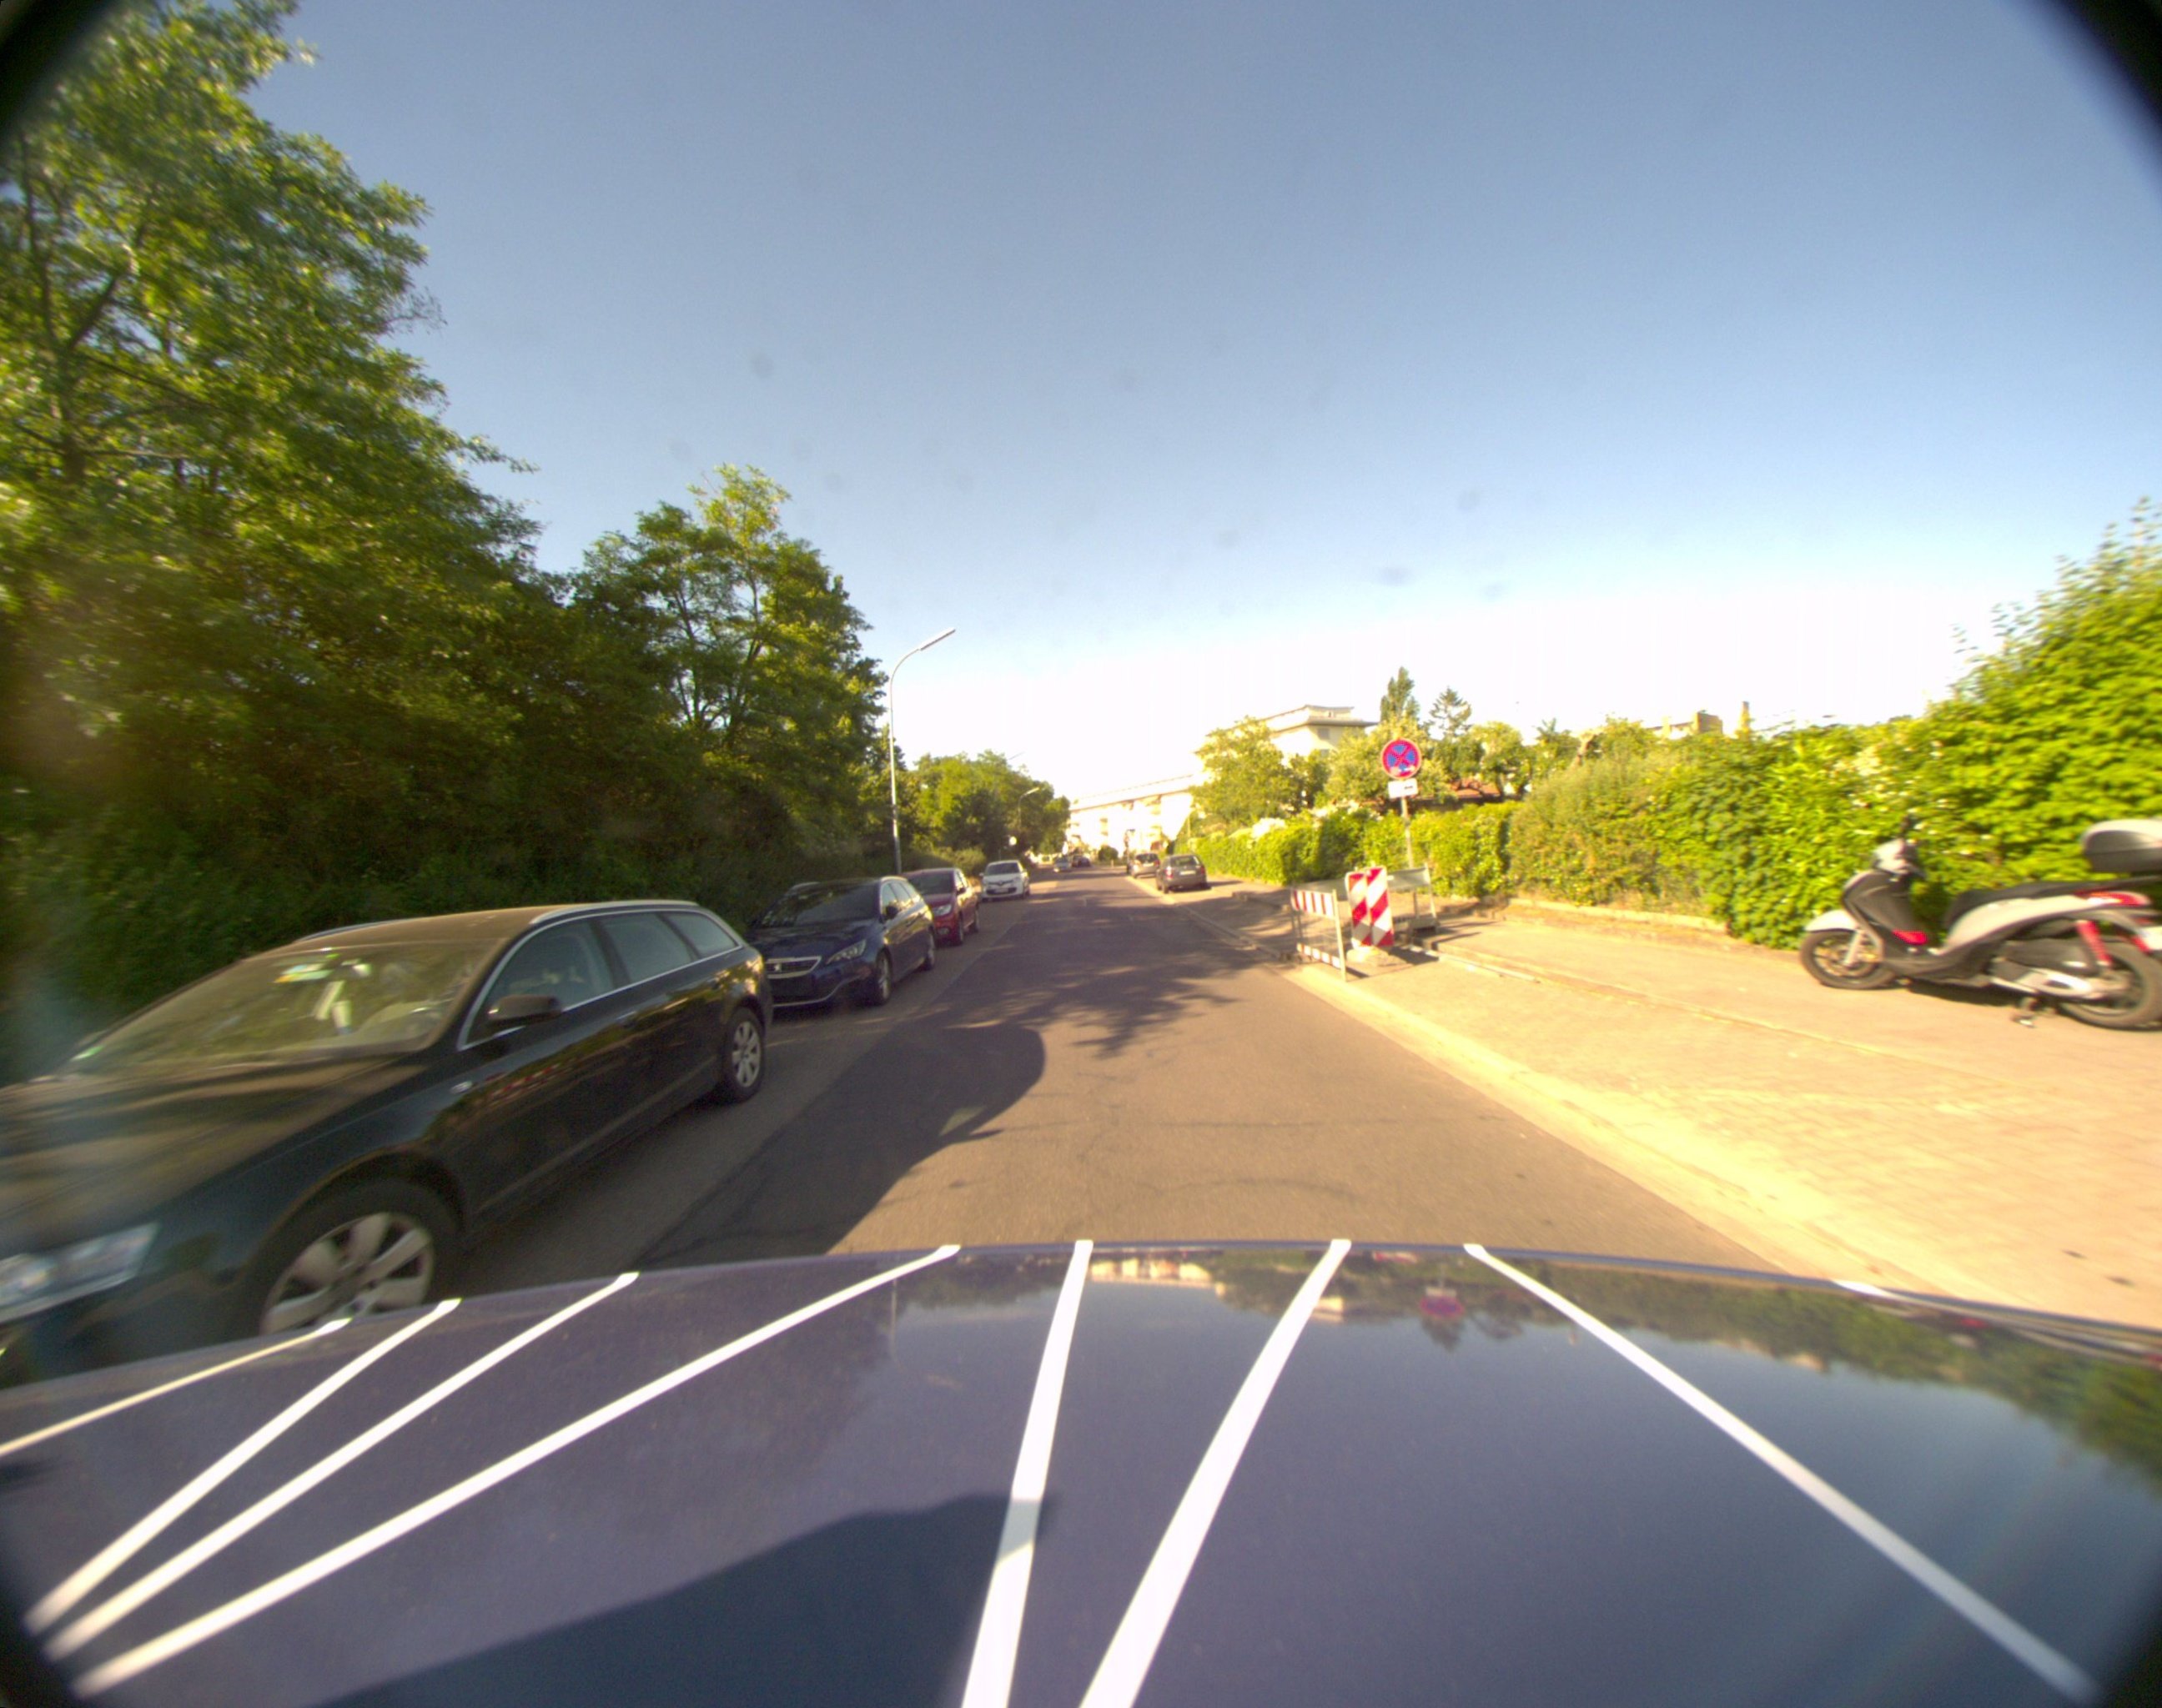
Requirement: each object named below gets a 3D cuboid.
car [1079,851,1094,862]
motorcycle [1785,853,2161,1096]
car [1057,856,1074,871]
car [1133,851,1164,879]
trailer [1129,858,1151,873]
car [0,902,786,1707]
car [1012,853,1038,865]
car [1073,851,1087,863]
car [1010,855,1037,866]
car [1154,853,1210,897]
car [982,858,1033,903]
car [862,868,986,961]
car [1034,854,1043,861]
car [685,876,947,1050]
[{"bbox_3d":[0.747,0.425,106.911,1.732,1.455,4.680,-2,-1,-5],"label":"car"},{"bbox_3d":[6.034,0.650,5.087,0.568,1.261,2.090,-4,1,-3],"label":"motorcycle"},{"bbox_3d":[-1.539,0.874,74.741,1.597,1.417,4.170,0,0,-1],"label":"car"},{"bbox_3d":[4.265,0.670,48.346,1.647,1.590,4.312,-4,0,3],"label":"car"},{"bbox_3d":[4.555,0.859,58.957,1.548,0.948,2.647,-4,0,3],"label":"trailer"},{"bbox_3d":[-3.166,1.153,3.453,1.758,1.405,4.655,-5,0,-1],"label":"car"},{"bbox_3d":[-9.815,0.898,133.727,4.464,2.005,2.020,-2,0,-4],"label":"car"},{"bbox_3d":[-0.182,0.512,120.101,1.845,1.770,4.886,-2,0,-5],"label":"car"},{"bbox_3d":[-9.101,1.055,121.079,4.160,1.685,1.774,-2,0,-3],"label":"car"},{"bbox_3d":[3.984,0.781,30.623,1.647,1.547,4.417,-2,0,0],"label":"car"},{"bbox_3d":[-2.912,1.015,30.663,1.559,1.529,3.555,-5,0,1],"label":"car"},{"bbox_3d":[-3.105,1.140,15.777,1.659,1.477,3.838,-5,0,0],"label":"car"},{"bbox_3d":[-12.221,0.956,217.201,2.008,1.837,4.612,-5,1,-9],"label":"car"},{"bbox_3d":[-3.040,1.147,9.878,1.659,1.436,4.655,-5,0,0],"label":"car"}]
